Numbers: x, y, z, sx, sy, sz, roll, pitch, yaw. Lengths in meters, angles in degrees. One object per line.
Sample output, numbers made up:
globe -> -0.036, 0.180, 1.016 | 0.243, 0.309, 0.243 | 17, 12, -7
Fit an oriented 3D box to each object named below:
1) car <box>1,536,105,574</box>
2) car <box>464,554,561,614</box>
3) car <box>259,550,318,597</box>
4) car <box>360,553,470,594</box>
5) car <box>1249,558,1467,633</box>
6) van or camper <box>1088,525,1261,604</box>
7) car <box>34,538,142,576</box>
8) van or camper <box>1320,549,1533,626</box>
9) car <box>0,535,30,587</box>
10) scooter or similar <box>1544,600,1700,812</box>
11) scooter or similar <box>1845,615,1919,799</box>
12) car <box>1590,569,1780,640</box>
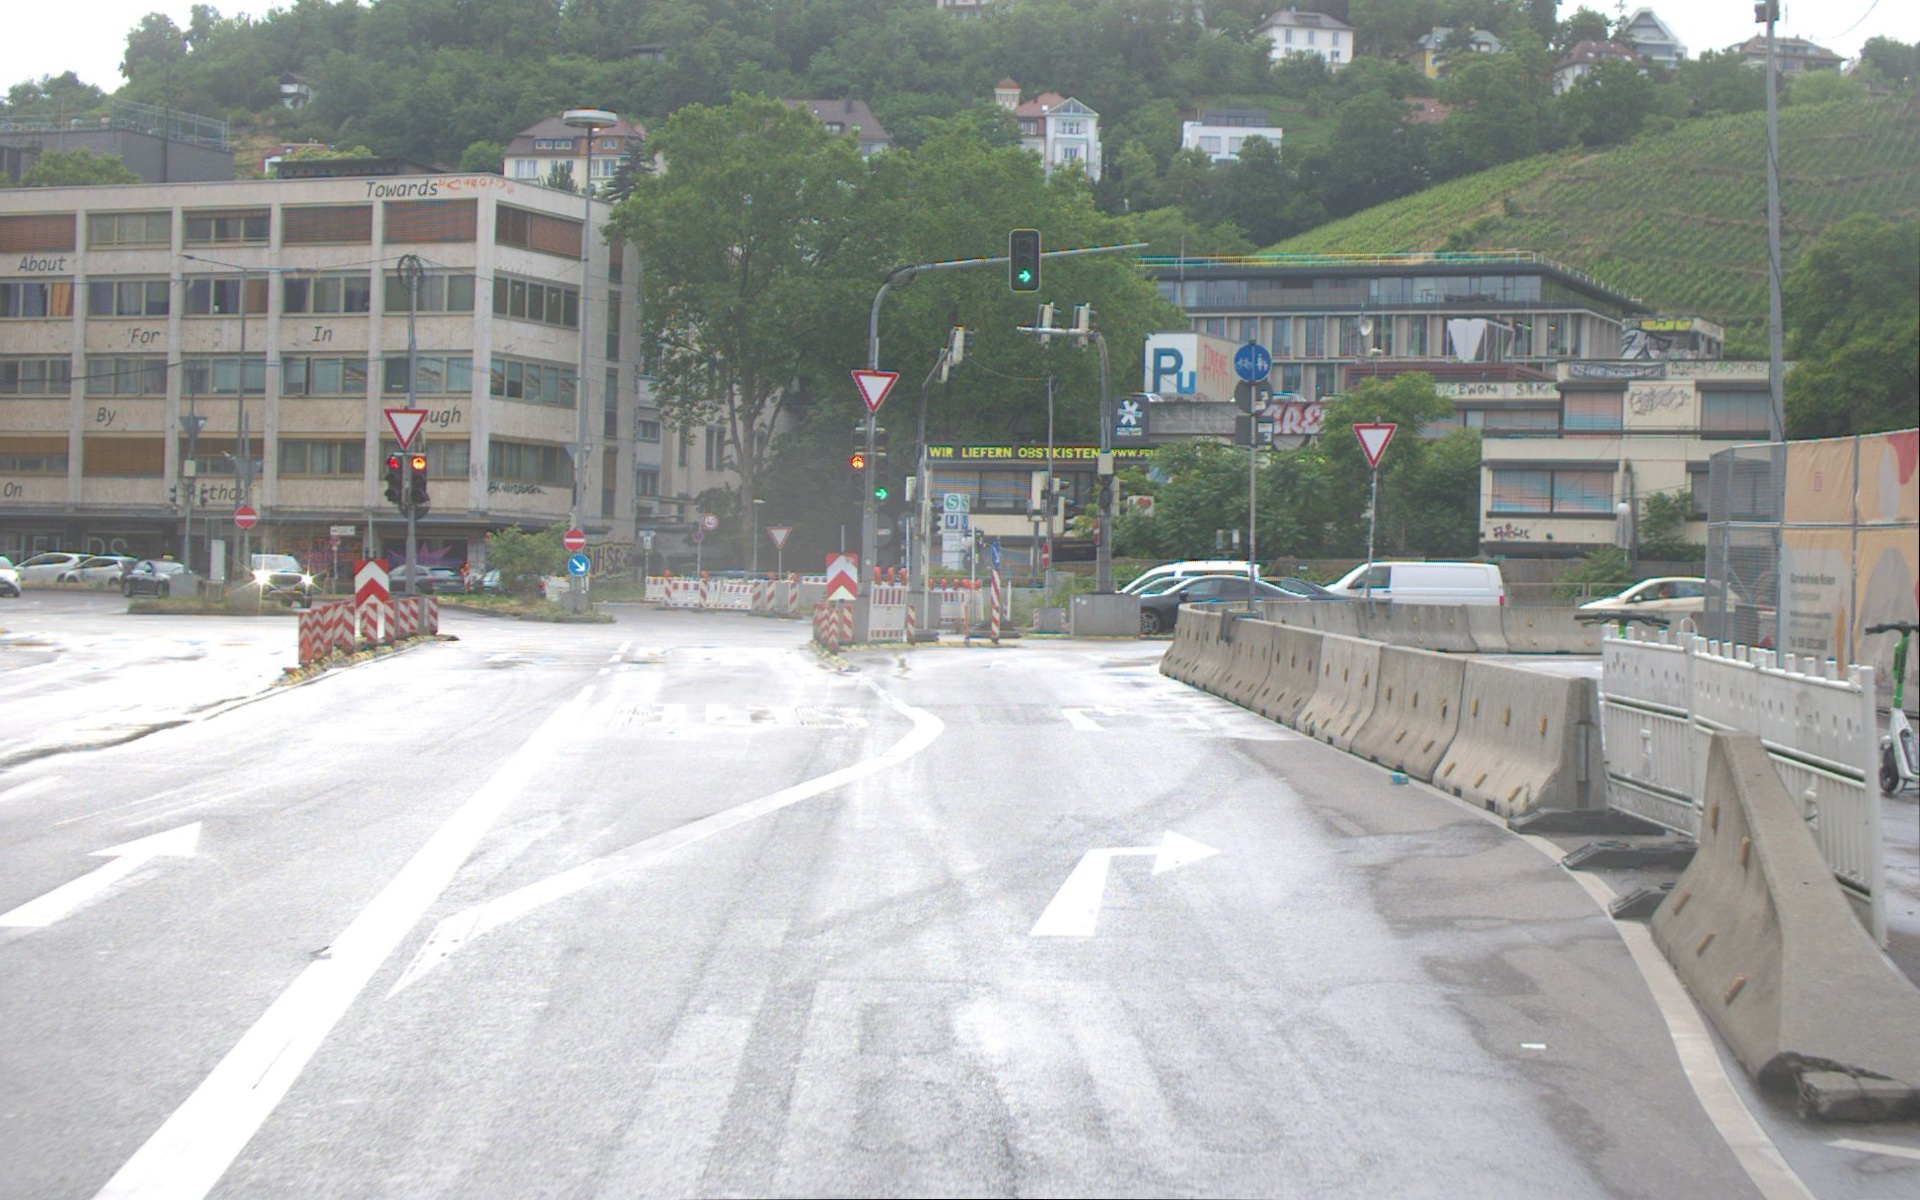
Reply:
car -> -38.630, -1.918, 146.414 | 4.069, 1.486, 1.733 | 2, 1, 23
car -> -16.020, -0.588, 122.915 | 1.993, 2.007, 4.000 | 1, 1, -31
car -> -22.005, -0.884, 112.591 | 1.830, 1.481, 4.001 | 1, 1, -12
car -> -21.142, -1.045, 133.240 | 4.072, 1.486, 1.732 | 2, 1, 33
car -> 9.139, -0.115, 79.145 | 4.647, 1.593, 2.019 | 1, 1, -4
van or camper -> 5.580, -0.929, 89.817 | 4.241, 1.972, 1.851 | 1, 1, -5
car -> -35.627, -1.757, 140.469 | 4.069, 1.486, 1.733 | 2, 1, 23
van or camper -> 12.180, -0.327, 89.872 | 5.194, 1.887, 1.888 | 1, 1, -4
car -> -34.704, -1.418, 122.696 | 1.800, 1.809, 4.000 | 1, 1, -32
scooter or similar -> 4.047, 0.628, 21.110 | 0.674, 1.210, 1.571 | 1, 1, 2
scooter or similar -> 6.457, 0.713, 22.920 | 0.467, 1.179, 1.415 | 1, 1, -12
car -> 18.266, 0.098, 86.690 | 4.366, 1.668, 1.848 | 1, 1, 1
